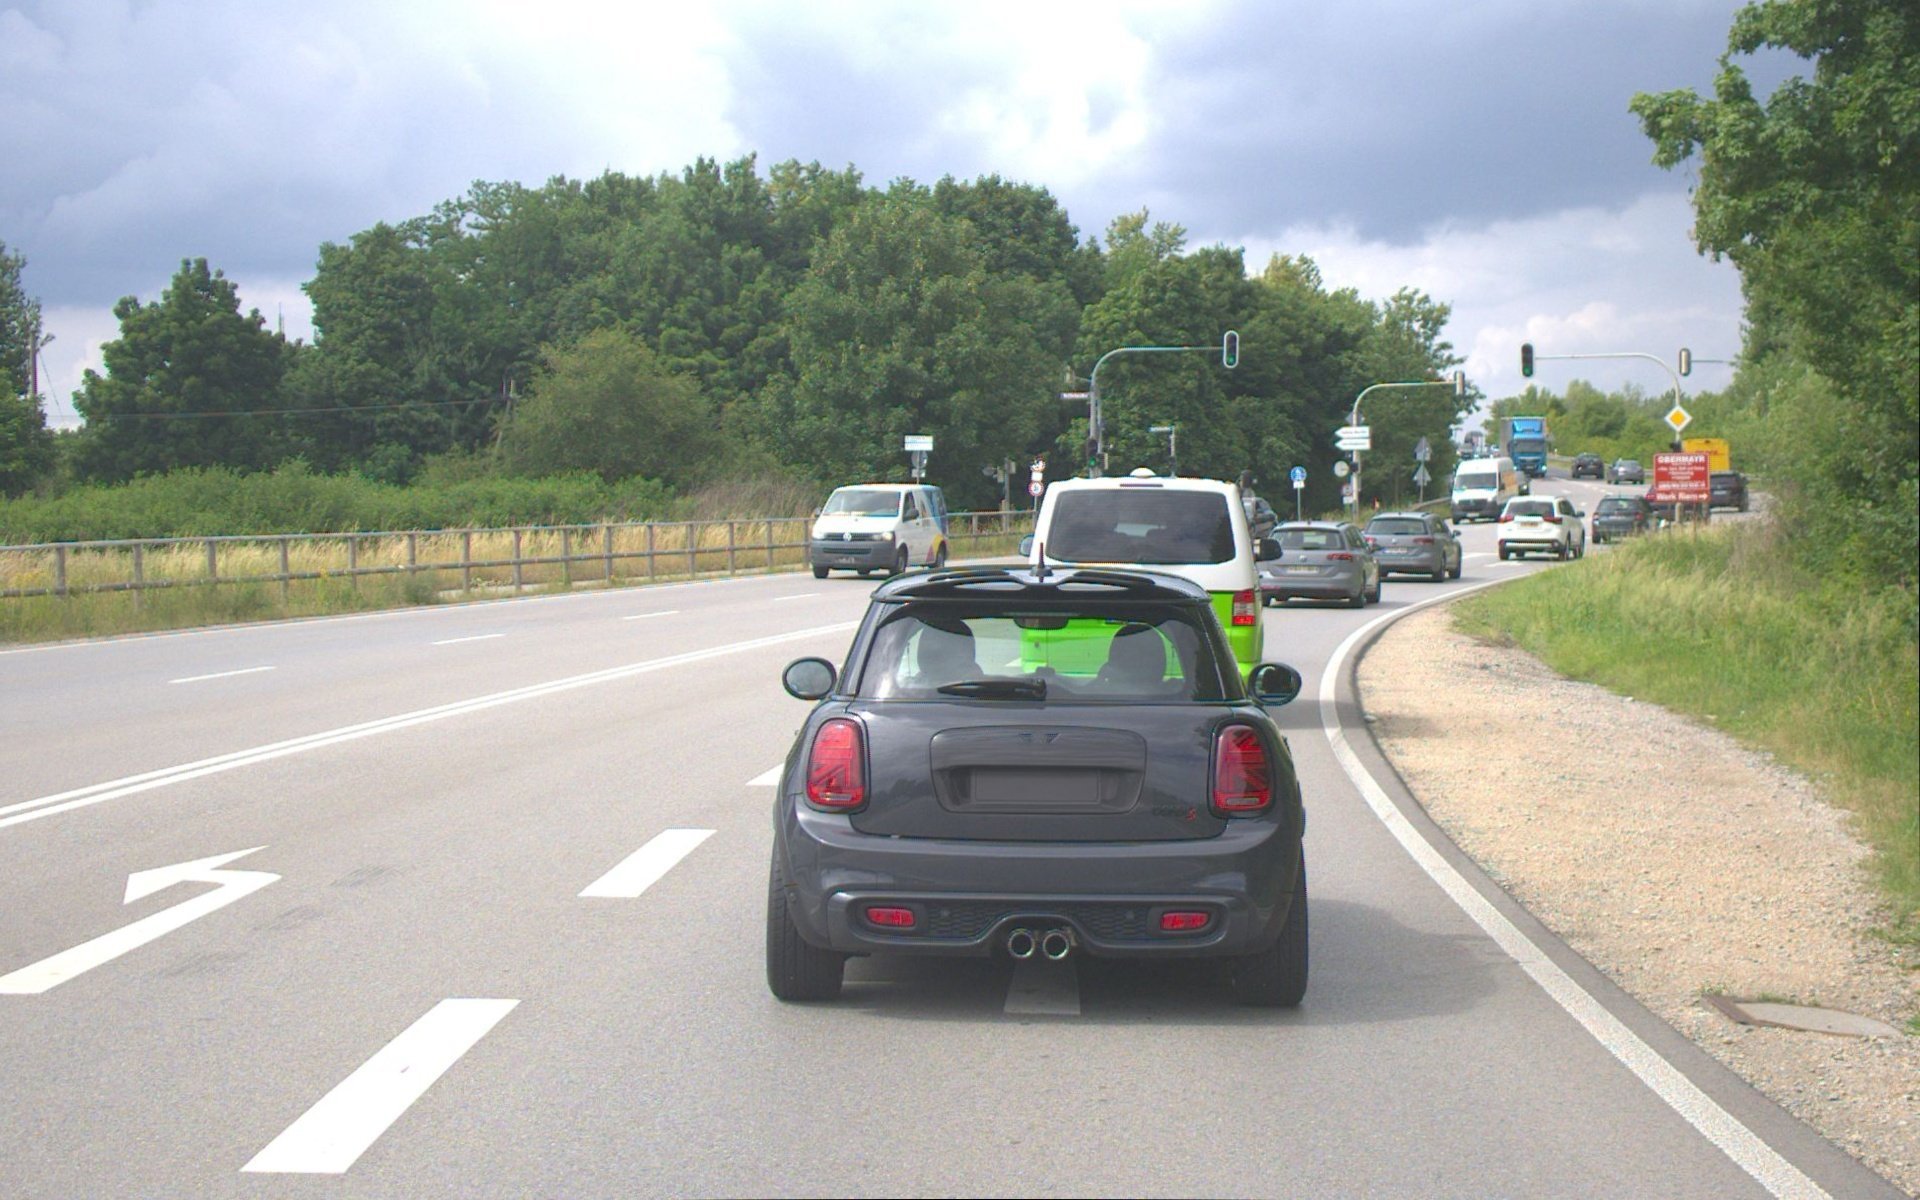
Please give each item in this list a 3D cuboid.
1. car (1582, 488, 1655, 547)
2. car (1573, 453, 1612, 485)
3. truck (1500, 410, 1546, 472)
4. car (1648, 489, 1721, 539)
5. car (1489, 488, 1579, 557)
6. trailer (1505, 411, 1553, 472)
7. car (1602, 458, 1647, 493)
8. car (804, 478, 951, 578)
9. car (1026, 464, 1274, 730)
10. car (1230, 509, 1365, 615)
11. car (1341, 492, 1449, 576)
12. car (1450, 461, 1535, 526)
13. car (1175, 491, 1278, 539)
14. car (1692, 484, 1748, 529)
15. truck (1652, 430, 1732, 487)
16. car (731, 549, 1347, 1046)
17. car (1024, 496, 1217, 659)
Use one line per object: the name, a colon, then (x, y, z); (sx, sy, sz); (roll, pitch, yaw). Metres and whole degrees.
car: (20.198, -2.508, 105.367); (1.995, 1.678, 3.998); (2, 1, 13)
car: (41.980, -8.673, 228.343); (1.994, 2.007, 4.000); (1, 1, 2)
truck: (37.931, -10.684, 231.511); (2.542, 4.082, 3.997); (1, 2, 16)
car: (25.368, -3.013, 120.266); (1.995, 1.690, 4.482); (1, 2, 18)
car: (15.031, -2.008, 89.916); (1.995, 1.678, 3.997); (2, 1, 14)
trailer: (38.878, -10.782, 234.793); (2.529, 4.086, 6.730); (1, 2, 16)
car: (40.532, -7.603, 209.801); (2.181, 2.007, 4.000); (1, 1, 4)
car: (-1.684, -1.523, 71.999); (1.995, 2.007, 4.665); (1, 2, 13)
car: (1.538, -0.071, 27.967); (1.845, 1.980, 3.841); (1, 1, 3)
car: (5.653, -0.642, 58.019); (1.994, 1.678, 4.000); (2, 1, 2)
car: (9.278, -1.384, 73.064); (1.994, 1.678, 3.975); (2, 1, 11)
car: (22.371, -4.451, 144.217); (2.436, 2.665, 6.882); (1, 2, 18)
car: (8.215, -2.619, 105.519); (1.811, 1.436, 4.348); (1, 2, 24)
car: (30.782, -3.779, 139.148); (1.995, 1.690, 4.483); (2, 1, 14)
truck: (37.748, -7.299, 177.515); (2.717, 2.887, 8.771); (0, 2, 3)
car: (0.311, 0.569, 12.347); (1.845, 1.423, 3.841); (1, 2, 2)
car: (1.783, -0.260, 37.964); (1.994, 1.678, 4.000); (1, 1, 3)
